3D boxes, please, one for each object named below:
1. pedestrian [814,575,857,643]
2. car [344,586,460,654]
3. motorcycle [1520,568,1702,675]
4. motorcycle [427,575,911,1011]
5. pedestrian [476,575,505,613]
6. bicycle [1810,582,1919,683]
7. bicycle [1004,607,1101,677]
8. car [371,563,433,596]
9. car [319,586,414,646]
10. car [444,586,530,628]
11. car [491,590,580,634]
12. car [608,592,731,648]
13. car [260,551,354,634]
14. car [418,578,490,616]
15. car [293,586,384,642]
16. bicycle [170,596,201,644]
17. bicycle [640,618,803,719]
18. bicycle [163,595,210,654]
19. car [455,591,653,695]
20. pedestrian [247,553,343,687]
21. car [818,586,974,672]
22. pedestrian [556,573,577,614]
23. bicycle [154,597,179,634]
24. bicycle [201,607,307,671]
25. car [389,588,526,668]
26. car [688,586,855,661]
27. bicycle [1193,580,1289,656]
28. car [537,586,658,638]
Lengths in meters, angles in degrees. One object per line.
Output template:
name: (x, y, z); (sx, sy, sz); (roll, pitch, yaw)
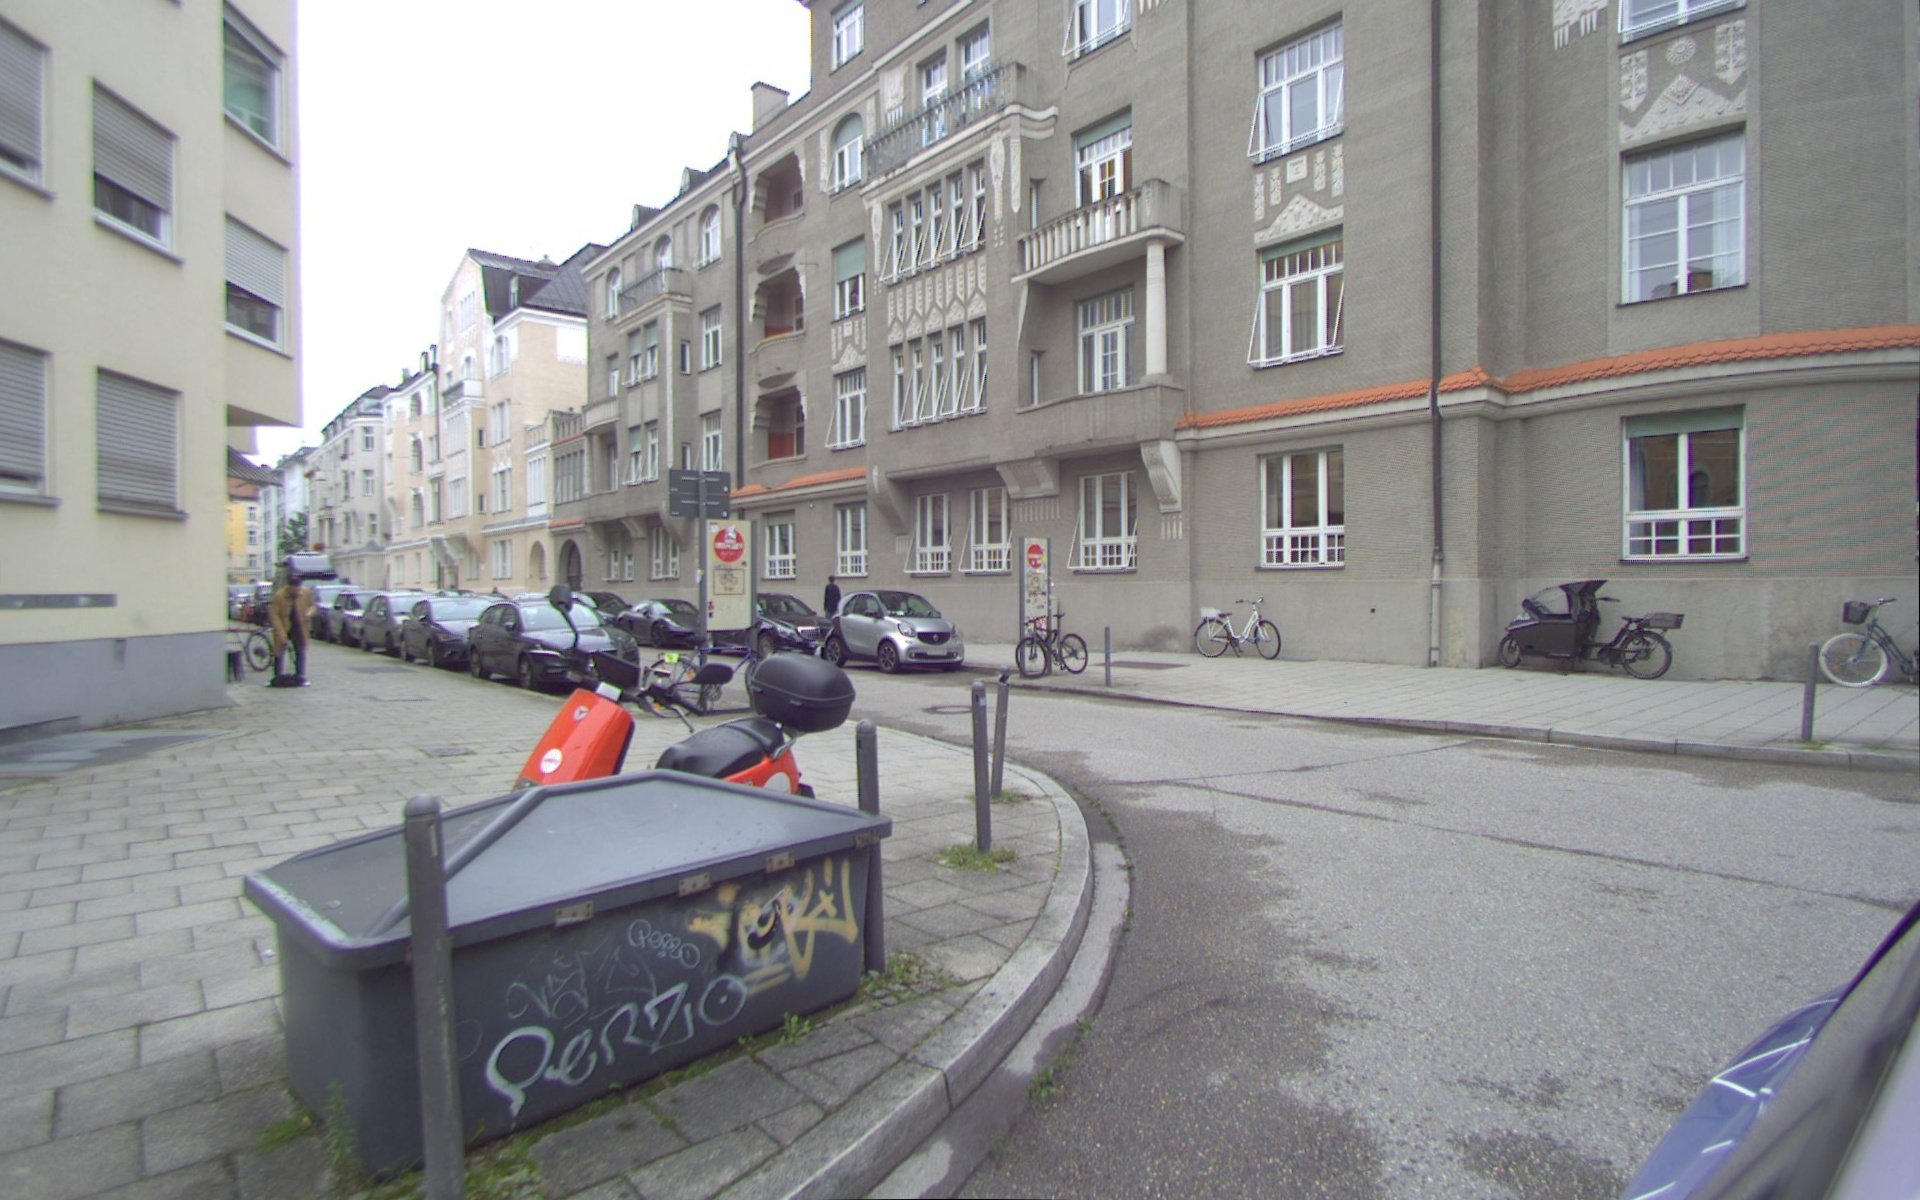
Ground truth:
pedestrian: (-3.451, 0.231, 28.014); (0.826, 1.809, 0.935); (-1, 1, -38)
car: (-14.193, 0.445, 25.654); (1.612, 1.556, 3.845); (-2, 2, -44)
motorcycle: (9.504, 0.277, 14.857); (0.725, 1.458, 2.143); (-1, 2, -41)
motorcycle: (-1.059, 0.592, 4.298); (0.809, 1.373, 2.066); (0, 1, 26)
pedestrian: (-21.876, -0.296, 47.127); (0.979, 1.750, 0.938); (-1, 1, -41)
bicycle: (12.320, 0.406, 13.062); (1.901, 1.271, 0.734); (0, 1, 20)
bicycle: (1.559, 0.675, 16.914); (1.777, 1.027, 0.539); (-3, 2, -42)
car: (-29.098, -1.080, 52.730); (1.923, 1.679, 4.611); (-2, 2, -40)
car: (-17.432, 0.409, 29.637); (1.612, 1.611, 3.960); (-2, 2, -42)
car: (-18.929, 0.234, 40.398); (1.812, 1.532, 4.598); (-2, 2, -43)
car: (-15.190, 0.394, 36.119); (1.779, 1.449, 4.435); (1, 0, -39)
car: (-7.899, 0.479, 27.333); (1.730, 1.348, 4.092); (-1, 1, -39)
car: (-25.635, -0.388, 39.634); (2.223, 2.995, 6.124); (-2, 3, -40)
car: (-22.426, -0.174, 44.797); (1.779, 1.591, 3.804); (-2, 2, -44)
car: (-21.189, 0.412, 34.425); (1.965, 1.709, 4.668); (-3, 2, -39)
bicycle: (-19.951, 0.494, 26.053); (0.475, 1.165, 1.784); (-1, 2, -42)
bicycle: (-2.719, 0.759, 11.603); (1.760, 1.099, 0.667); (0, -1, -13)
bicycle: (-16.588, 0.517, 21.697); (0.555, 1.208, 1.672); (3, -1, -45)
car: (-7.069, 0.619, 17.363); (1.669, 1.490, 4.602); (-2, 2, -42)
pedestrian: (-9.633, 0.293, 14.657); (1.008, 1.872, 0.734); (-1, -3, 31)
car: (-1.295, 0.505, 19.793); (1.679, 1.534, 2.908); (1, 0, -39)
pedestrian: (-17.945, -0.318, 46.155); (0.706, 1.840, 0.729); (-1, 1, -41)
bicycle: (-25.829, 0.486, 32.934); (0.475, 1.165, 1.784); (3, -1, -42)
bicycle: (-12.481, 0.668, 17.967); (0.738, 1.045, 1.801); (1, 0, -5)
car: (-10.720, 0.524, 21.475); (1.611, 1.490, 3.848); (-2, 2, -42)
car: (-4.434, 0.454, 23.259); (1.730, 1.534, 4.702); (-1, 1, -39)
bicycle: (5.287, 0.306, 19.107); (0.610, 1.366, 1.671); (-1, 2, -44)
car: (-11.397, 0.311, 31.640); (1.966, 1.466, 4.770); (-1, 1, -42)
